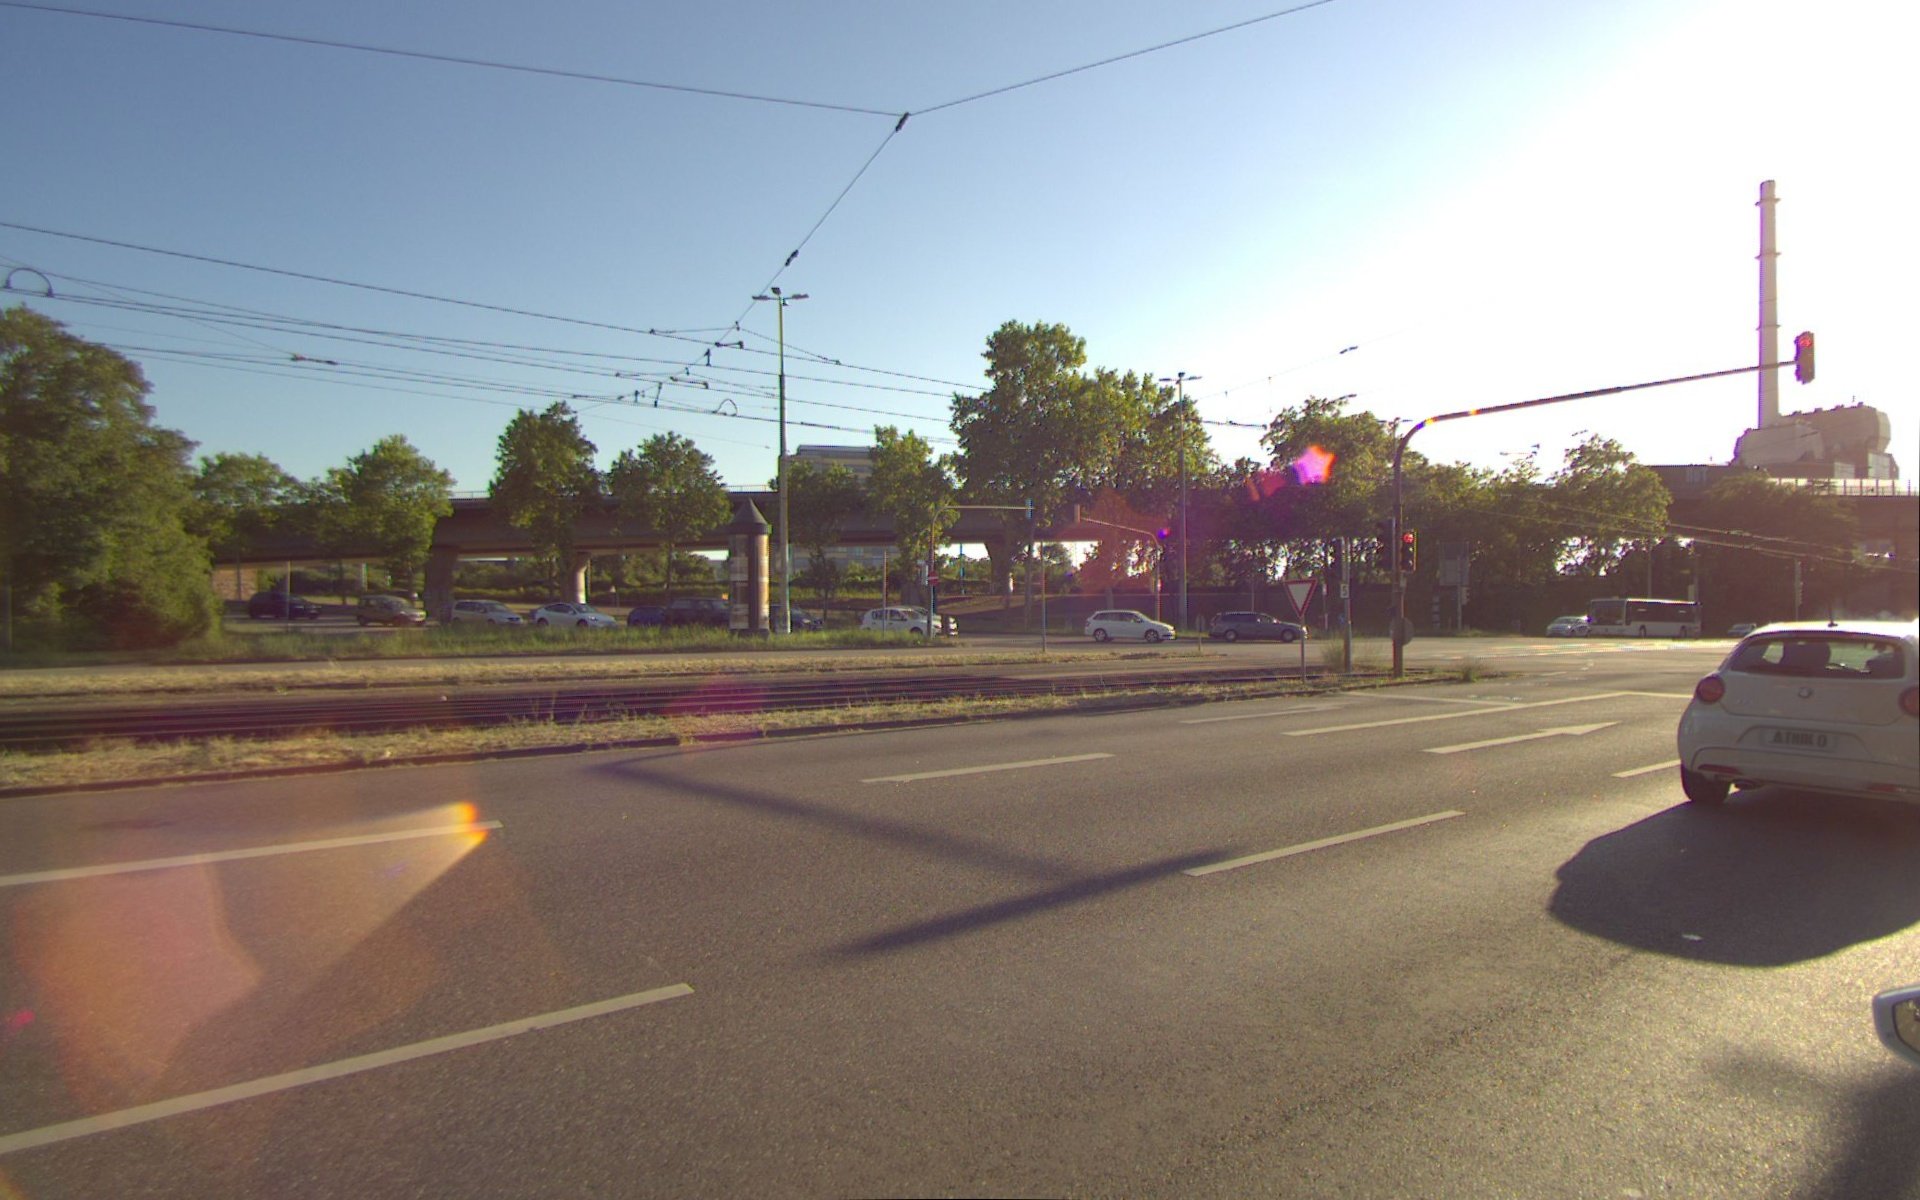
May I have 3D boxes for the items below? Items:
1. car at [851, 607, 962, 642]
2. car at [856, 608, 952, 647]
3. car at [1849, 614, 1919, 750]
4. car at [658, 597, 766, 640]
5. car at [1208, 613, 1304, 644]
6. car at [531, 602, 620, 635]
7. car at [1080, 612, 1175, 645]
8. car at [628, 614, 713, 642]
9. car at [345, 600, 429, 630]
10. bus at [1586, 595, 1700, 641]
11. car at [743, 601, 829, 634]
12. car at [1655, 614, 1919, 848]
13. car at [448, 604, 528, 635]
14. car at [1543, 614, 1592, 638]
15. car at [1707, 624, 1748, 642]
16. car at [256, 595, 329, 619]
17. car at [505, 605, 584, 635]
[{"bbox_3d":[-2.599,1.155,48.318,5.273,1.596,1.737,0,0,31],"label":"car"},{"bbox_3d":[-2.473,1.176,44.252,3.929,1.596,1.690,0,0,30],"label":"car"},{"bbox_3d":[12.393,0.918,12.192,4.170,1.485,1.701,0,-1,-38],"label":"car"},{"bbox_3d":[-12.111,0.883,49.060,4.849,2.017,2.036,0,0,24],"label":"car"},{"bbox_3d":[14.504,1.384,49.419,4.354,1.423,1.672,1,0,11],"label":"car"},{"bbox_3d":[-20.392,0.960,53.233,4.678,1.596,1.692,1,1,26],"label":"car"},{"bbox_3d":[7.812,1.296,46.915,4.117,1.423,1.669,0,0,25],"label":"car"},{"bbox_3d":[-16.023,1.531,55.596,4.539,1.478,1.692,0,0,26],"label":"car"},{"bbox_3d":[-33.671,0.857,59.031,4.325,1.701,1.694,1,0,15],"label":"car"},{"bbox_3d":[51.825,1.447,76.020,12.783,3.171,2.528,2,-2,-34],"label":"bus"},{"bbox_3d":[-8.961,0.872,51.640,4.171,1.596,1.691,0,0,28],"label":"car"},{"bbox_3d":[7.474,0.882,8.300,3.963,1.525,1.724,0,-1,-38],"label":"car"},{"bbox_3d":[-26.250,1.054,55.804,4.205,1.653,1.692,0,0,24],"label":"car"},{"bbox_3d":[41.821,1.772,69.131,3.972,1.532,1.594,1,0,-38],"label":"car"},{"bbox_3d":[64.955,2.750,84.989,3.967,1.438,1.596,1,0,-35],"label":"car"},{"bbox_3d":[-44.504,0.467,67.016,4.324,1.546,1.624,1,0,15],"label":"car"},{"bbox_3d":[-24.629,1.160,59.481,4.327,1.701,1.693,1,0,20],"label":"car"}]
